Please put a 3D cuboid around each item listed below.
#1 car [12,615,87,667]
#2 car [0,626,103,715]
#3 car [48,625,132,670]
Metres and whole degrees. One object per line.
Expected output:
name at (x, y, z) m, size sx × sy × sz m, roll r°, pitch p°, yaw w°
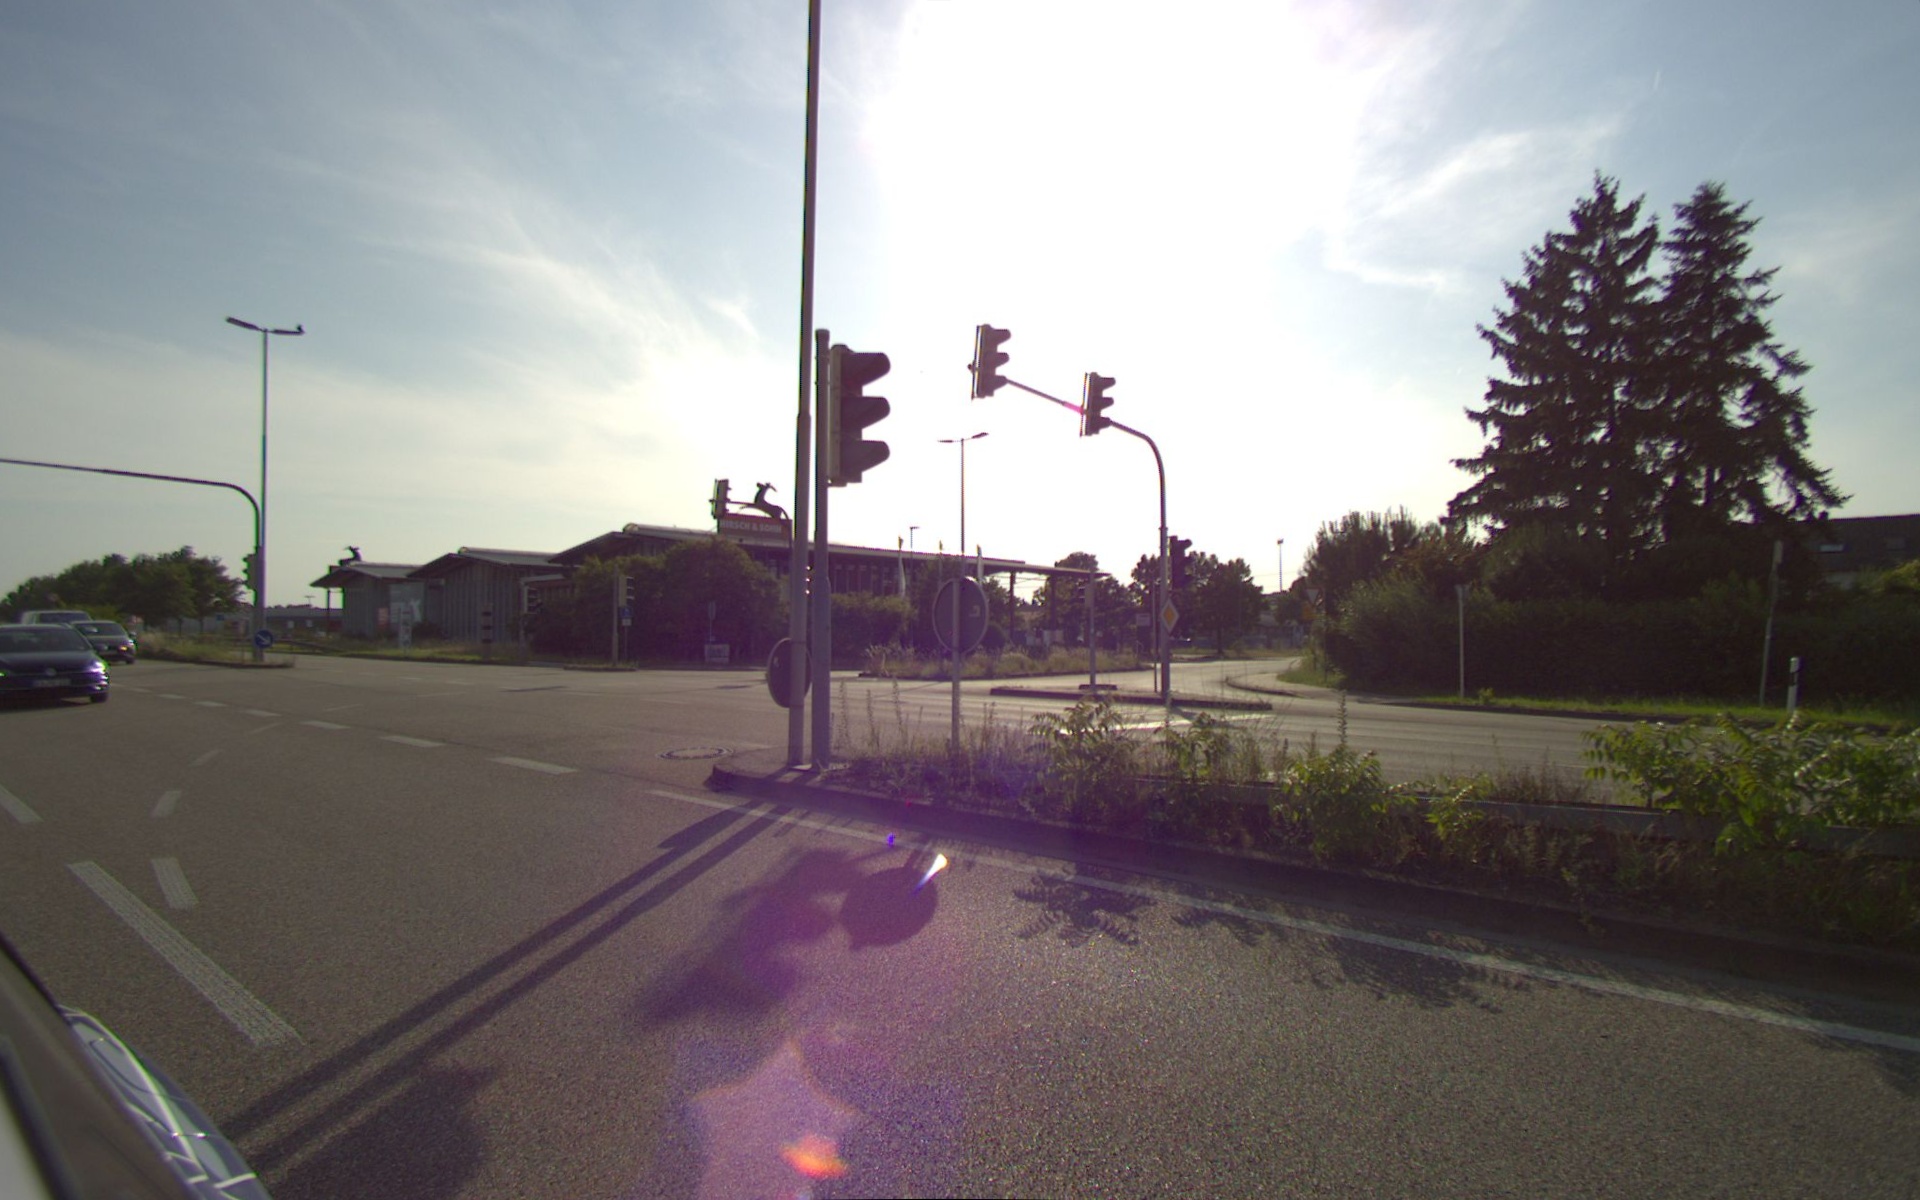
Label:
car at (-34.568, 1.548, 38.403) m, size 4.223 × 1.848 × 1.629 m, roll -2°, pitch -2°, yaw 41°
car at (-17.499, 1.240, 18.863) m, size 4.774 × 1.482 × 1.629 m, roll -2°, pitch -2°, yaw 41°
car at (-29.673, 1.603, 34.500) m, size 3.563 × 1.448 × 1.689 m, roll -2°, pitch -2°, yaw 41°
